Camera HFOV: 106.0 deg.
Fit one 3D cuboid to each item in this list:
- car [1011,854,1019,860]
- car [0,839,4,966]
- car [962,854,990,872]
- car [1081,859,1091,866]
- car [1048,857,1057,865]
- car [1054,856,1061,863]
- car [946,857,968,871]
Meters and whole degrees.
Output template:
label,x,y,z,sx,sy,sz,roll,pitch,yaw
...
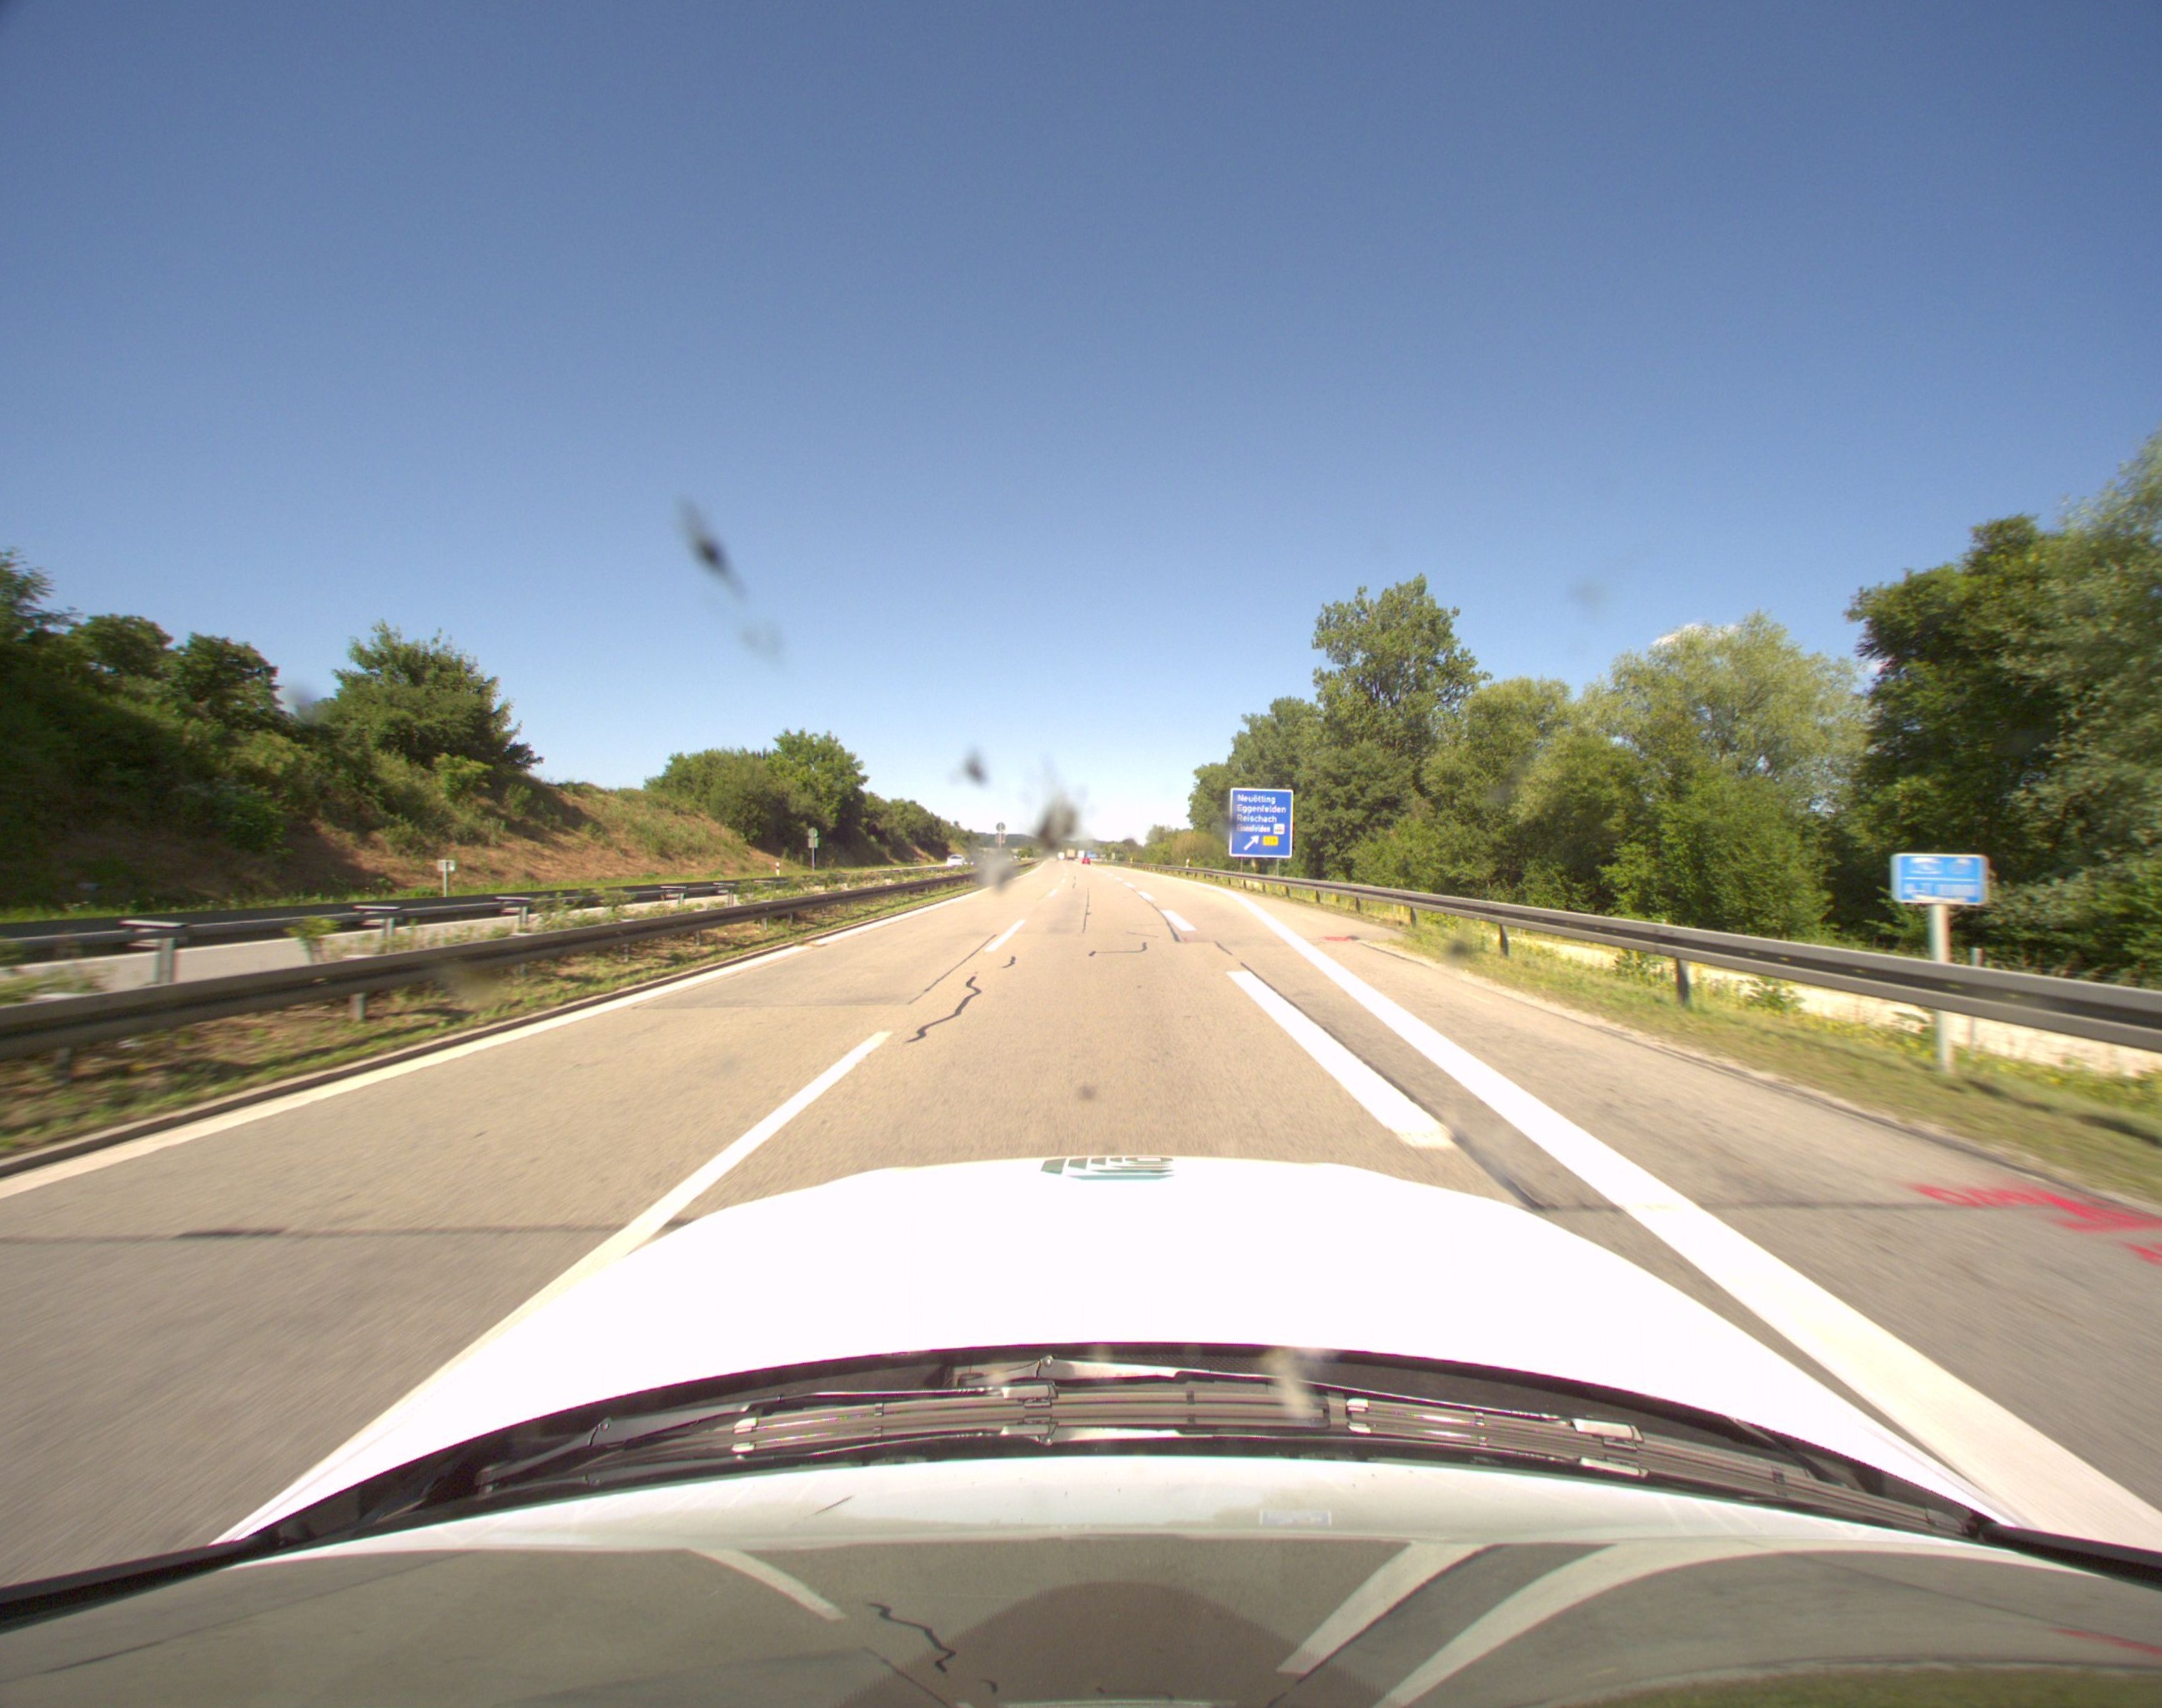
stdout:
label,x,y,z,sx,sy,sz,roll,pitch,yaw
car,-18.864,0.836,231.410,1.988,1.645,5.079,0,-1,-2
car,-10.688,0.542,4.946,1.638,1.455,4.908,0,-1,2
car,-9.748,0.836,75.991,1.987,1.545,4.675,-1,0,0
car,1.126,1.810,176.070,1.775,1.431,4.007,4,-1,7
car,-6.342,1.492,182.166,2.056,1.625,3.996,0,-3,-2
car,-6.794,1.560,235.241,1.988,1.750,3.997,2,0,-2
car,-13.903,1.102,91.301,1.834,1.439,4.410,0,0,-1
